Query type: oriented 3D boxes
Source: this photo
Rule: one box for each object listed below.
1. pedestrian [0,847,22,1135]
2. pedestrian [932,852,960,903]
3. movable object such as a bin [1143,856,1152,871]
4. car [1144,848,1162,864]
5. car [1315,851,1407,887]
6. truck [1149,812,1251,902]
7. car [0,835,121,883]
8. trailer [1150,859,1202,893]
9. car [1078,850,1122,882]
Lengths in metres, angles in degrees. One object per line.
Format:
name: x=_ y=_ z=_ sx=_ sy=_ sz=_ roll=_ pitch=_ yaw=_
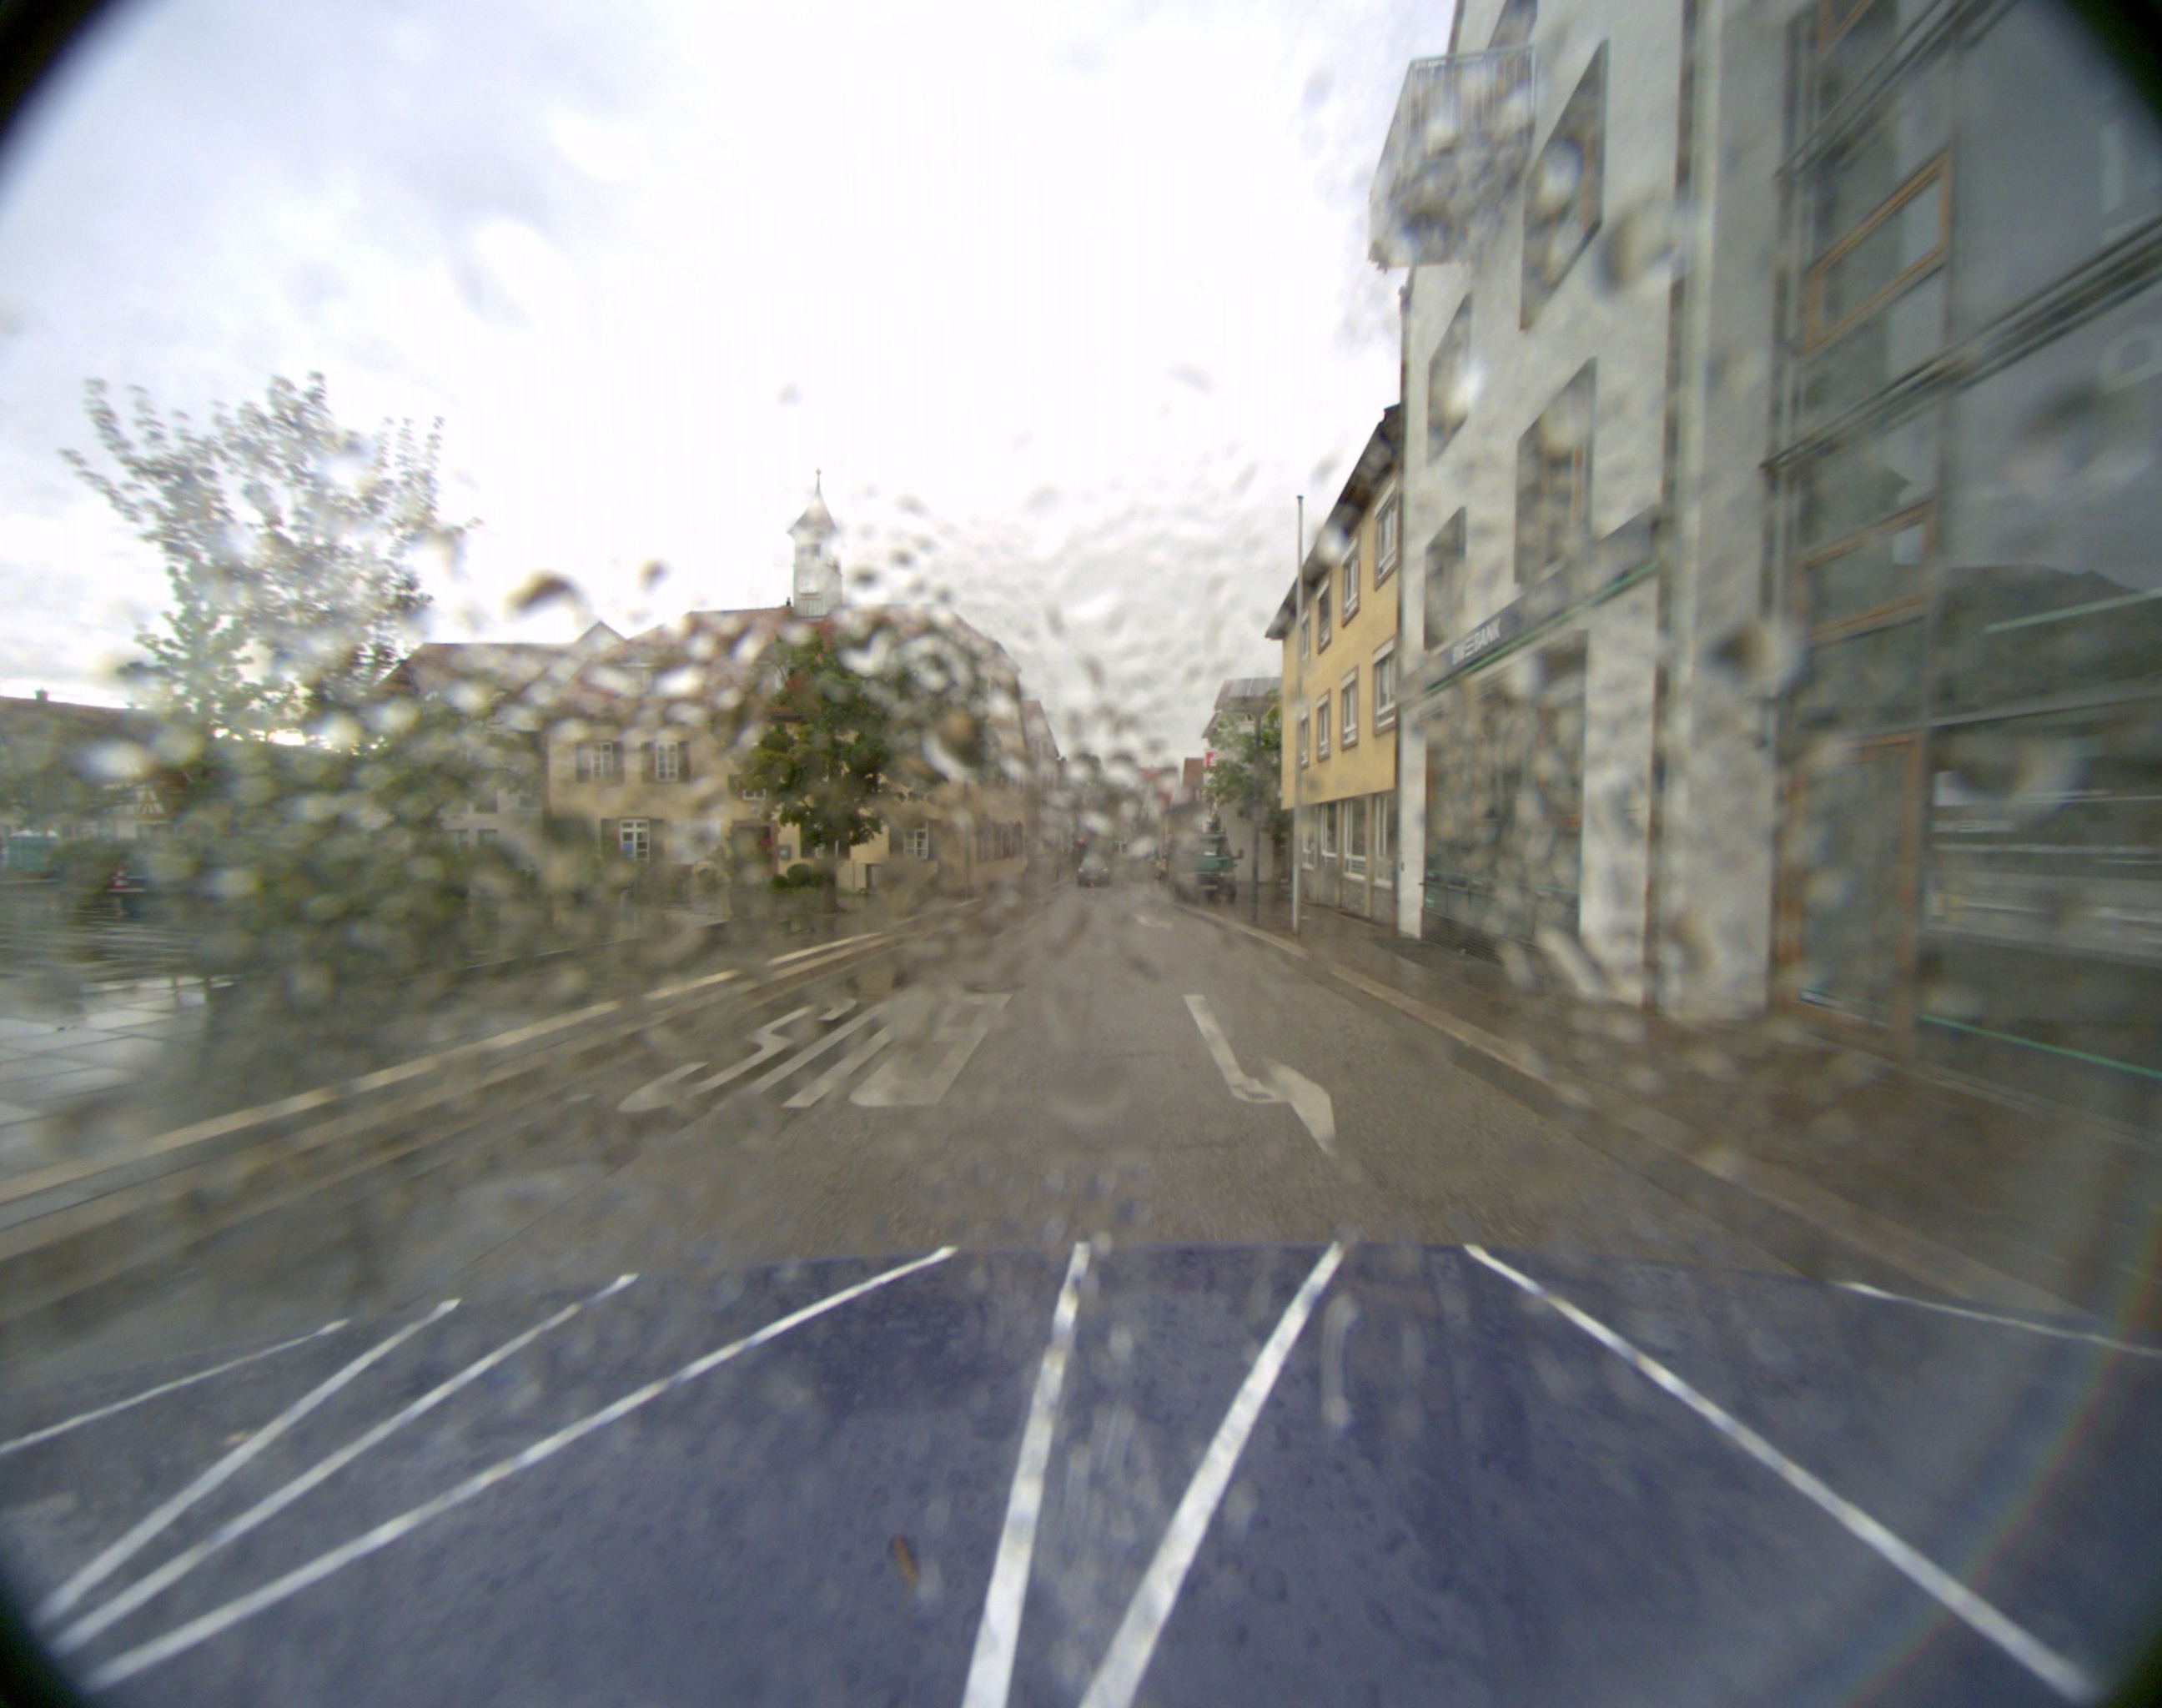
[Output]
pedestrian: x=-6.414 y=0.763 z=3.995 sx=0.729 sy=1.608 sz=0.694 roll=1 pitch=2 yaw=7
pedestrian: x=-4.564 y=0.780 z=25.740 sx=0.867 sy=1.683 sz=0.716 roll=0 pitch=1 yaw=-6
movable object such as a bin: x=5.151 y=0.742 z=58.934 sx=0.659 sy=1.090 sz=0.613 roll=1 pitch=2 yaw=7
car: x=7.159 y=0.178 z=75.757 sx=1.693 sy=1.477 sz=4.000 roll=1 pitch=1 yaw=3
car: x=13.373 y=0.695 z=36.572 sx=3.992 sy=1.555 sz=1.968 roll=1 pitch=1 yaw=16
truck: x=4.025 y=0.113 z=27.108 sx=2.480 sy=2.778 sz=6.599 roll=1 pitch=0 yaw=-1
car: x=-50.527 y=0.207 z=36.896 sx=1.996 sy=2.205 sz=4.381 roll=1 pitch=1 yaw=16
trailer: x=3.954 y=0.889 z=31.963 sx=1.732 sy=1.338 sz=3.160 roll=1 pitch=0 yaw=-1
car: x=1.041 y=0.644 z=40.273 sx=1.735 sy=1.546 sz=3.849 roll=2 pitch=-1 yaw=10
